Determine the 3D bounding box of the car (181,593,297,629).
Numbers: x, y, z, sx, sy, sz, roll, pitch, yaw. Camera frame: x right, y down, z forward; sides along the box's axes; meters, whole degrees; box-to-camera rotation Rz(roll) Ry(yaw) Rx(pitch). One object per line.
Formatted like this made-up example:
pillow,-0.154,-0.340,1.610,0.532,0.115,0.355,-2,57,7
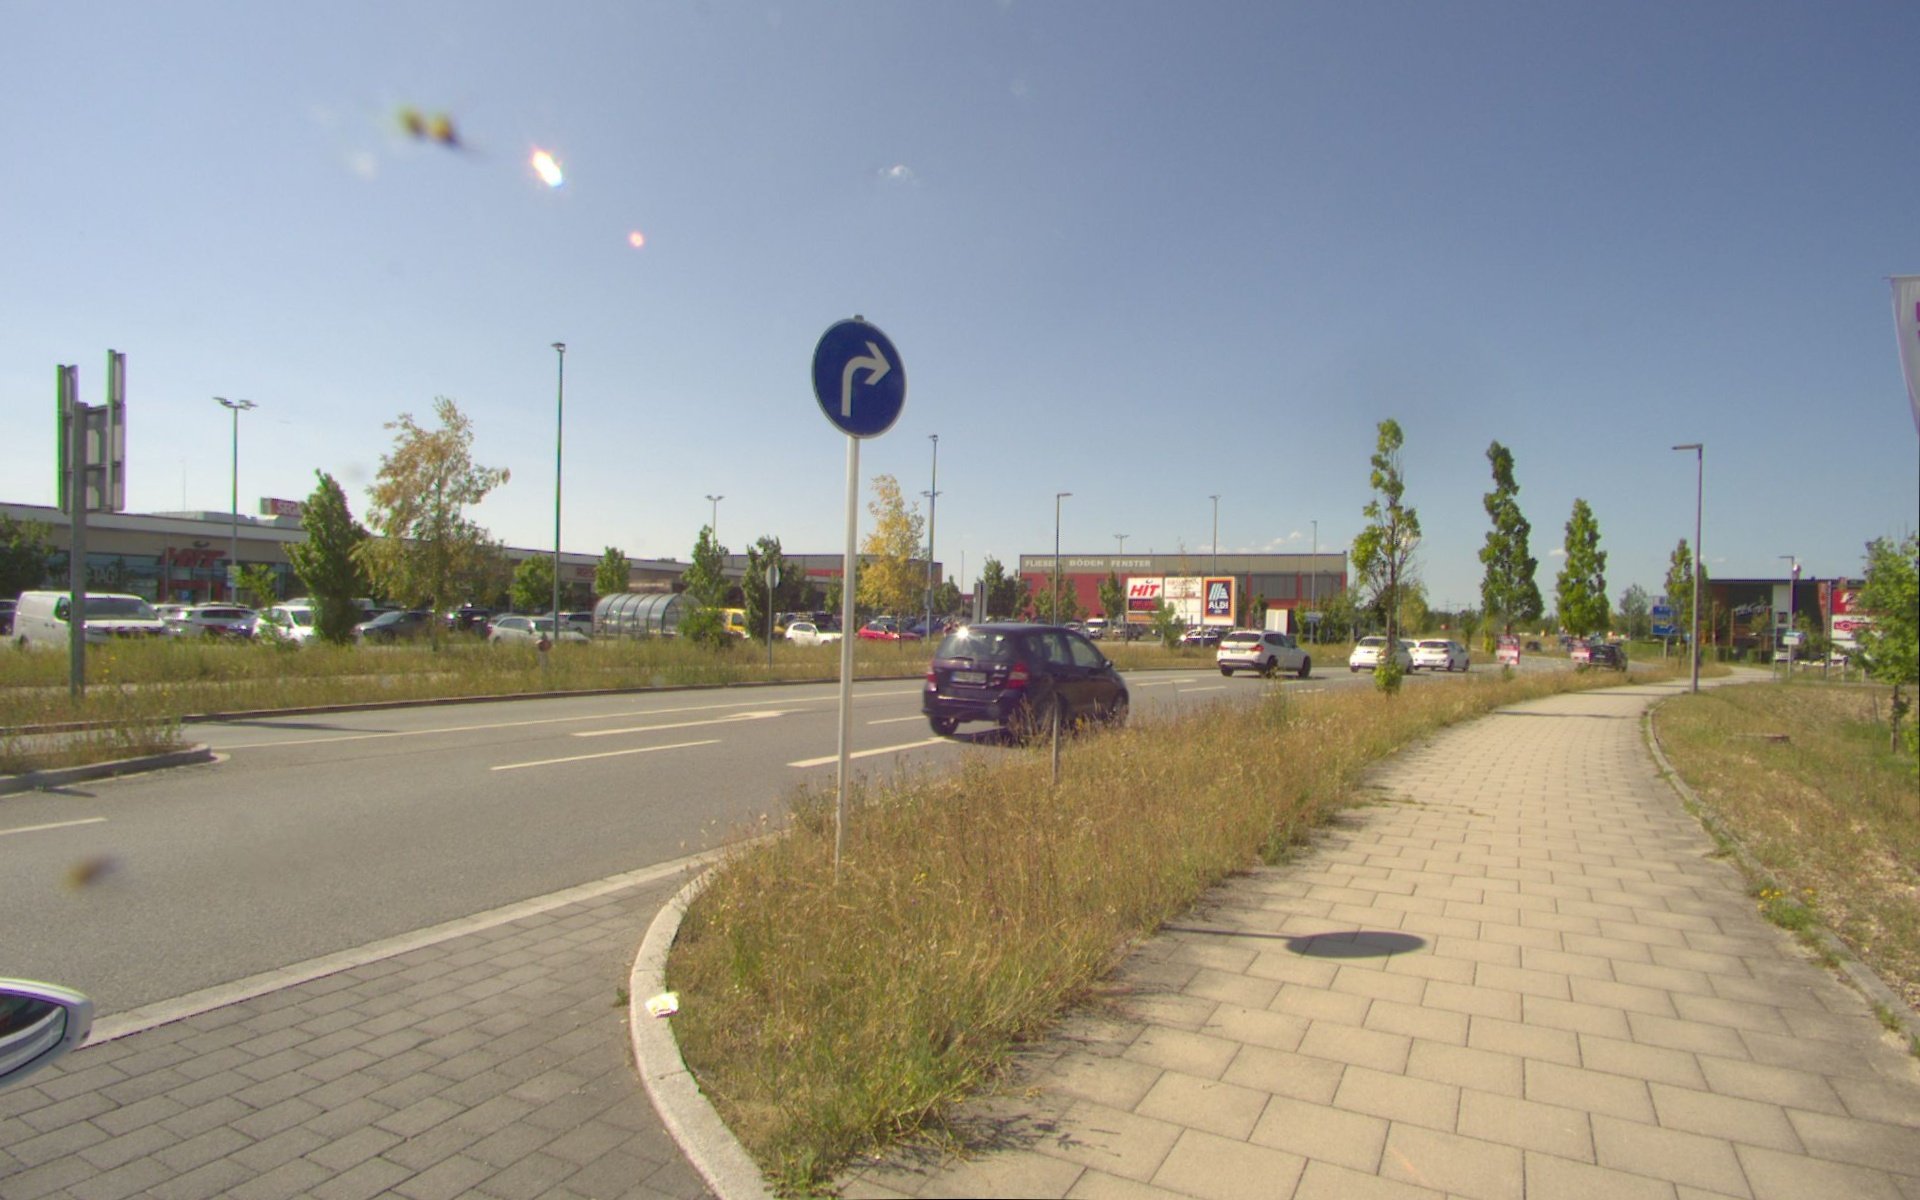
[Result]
car,-36.724,0.604,51.112,1.844,1.727,4.472,0,-2,26

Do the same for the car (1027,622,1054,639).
car,9.974,3.807,123.908,1.966,2.064,4.474,0,-2,23

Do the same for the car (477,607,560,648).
car,-25.553,1.603,58.159,1.964,2.219,4.480,1,-2,17

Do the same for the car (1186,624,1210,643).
car,27.605,3.880,116.121,1.966,2.064,4.474,0,-2,23

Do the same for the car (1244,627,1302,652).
car,26.970,3.405,86.365,4.424,2.064,1.989,0,-2,35

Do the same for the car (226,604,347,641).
car,-26.753,0.893,39.888,1.701,1.409,3.725,1,-1,20

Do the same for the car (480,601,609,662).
car,-15.404,1.123,36.996,5.049,2.040,2.151,1,-1,37

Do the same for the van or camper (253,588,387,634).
van or camper,-30.121,0.537,47.315,1.967,2.040,5.037,1,-1,25

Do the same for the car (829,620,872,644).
car,-10.031,2.933,91.865,1.966,2.064,4.474,0,-2,23

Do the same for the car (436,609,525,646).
car,-28.373,1.634,59.340,1.968,2.129,4.470,0,-2,27

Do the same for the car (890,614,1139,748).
car,0.914,1.024,14.168,1.970,1.570,3.826,1,-1,31

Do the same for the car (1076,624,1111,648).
car,12.046,3.256,89.978,1.966,2.064,4.474,0,-2,23

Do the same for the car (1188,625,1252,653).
car,20.318,3.052,78.202,4.424,2.064,1.989,0,-2,35

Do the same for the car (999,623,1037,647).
car,5.072,3.050,87.015,1.966,2.064,4.474,0,-2,23

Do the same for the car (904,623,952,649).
car,-2.317,2.687,74.560,1.966,1.807,4.305,0,-2,23

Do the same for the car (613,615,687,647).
car,-19.019,1.934,61.650,1.966,1.887,4.474,0,-2,23

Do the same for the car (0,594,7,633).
car,-44.927,0.556,44.706,3.931,1.729,1.995,1,0,22

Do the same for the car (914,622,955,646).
car,-2.215,2.999,89.547,1.966,2.064,4.474,0,-2,23

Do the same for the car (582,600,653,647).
car,-21.471,1.494,62.962,1.964,2.857,4.480,1,-1,17

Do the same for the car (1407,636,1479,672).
car,22.871,2.538,47.302,1.924,1.571,4.724,0,-2,41

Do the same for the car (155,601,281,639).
car,-29.524,0.809,39.988,1.701,1.409,3.725,1,-1,20

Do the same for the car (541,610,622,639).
car,-21.114,1.394,56.014,1.628,1.539,4.338,0,-2,25

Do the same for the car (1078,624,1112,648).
car,12.169,3.257,89.940,1.966,2.064,4.474,0,-2,23

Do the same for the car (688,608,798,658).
car,-9.790,1.451,44.934,5.054,2.040,2.149,1,-1,40

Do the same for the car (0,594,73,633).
car,-44.114,0.623,47.282,3.935,1.729,1.993,1,-1,26

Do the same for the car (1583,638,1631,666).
car,38.064,3.031,58.854,1.891,1.571,4.356,0,-2,40

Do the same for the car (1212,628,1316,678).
car,10.433,1.770,34.161,1.721,1.571,4.535,0,-2,41

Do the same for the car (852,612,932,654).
car,-3.585,1.722,52.651,4.091,2.039,1.868,1,-1,42

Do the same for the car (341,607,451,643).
car,-25.301,1.147,45.043,1.844,1.527,3.990,0,-2,24

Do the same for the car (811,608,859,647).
car,-9.615,2.114,77.203,1.964,2.857,4.480,1,-1,17

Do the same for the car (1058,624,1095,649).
car,9.835,3.053,84.346,1.966,2.064,4.474,0,-2,23

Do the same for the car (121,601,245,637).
car,-32.118,0.789,41.499,1.701,1.409,3.725,1,-1,20

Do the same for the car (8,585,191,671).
car,-22.402,0.678,26.033,5.151,2.040,2.078,1,-1,31

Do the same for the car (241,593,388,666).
car,-19.724,0.859,30.505,5.049,2.040,2.151,1,-1,37

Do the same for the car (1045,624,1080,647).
car,9.375,3.242,91.079,1.966,2.064,4.474,0,-2,23

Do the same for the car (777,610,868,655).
car,-6.753,1.554,48.955,4.357,2.039,1.930,1,-1,40

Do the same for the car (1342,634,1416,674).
car,17.383,2.208,41.458,1.721,1.571,3.754,0,-2,41
